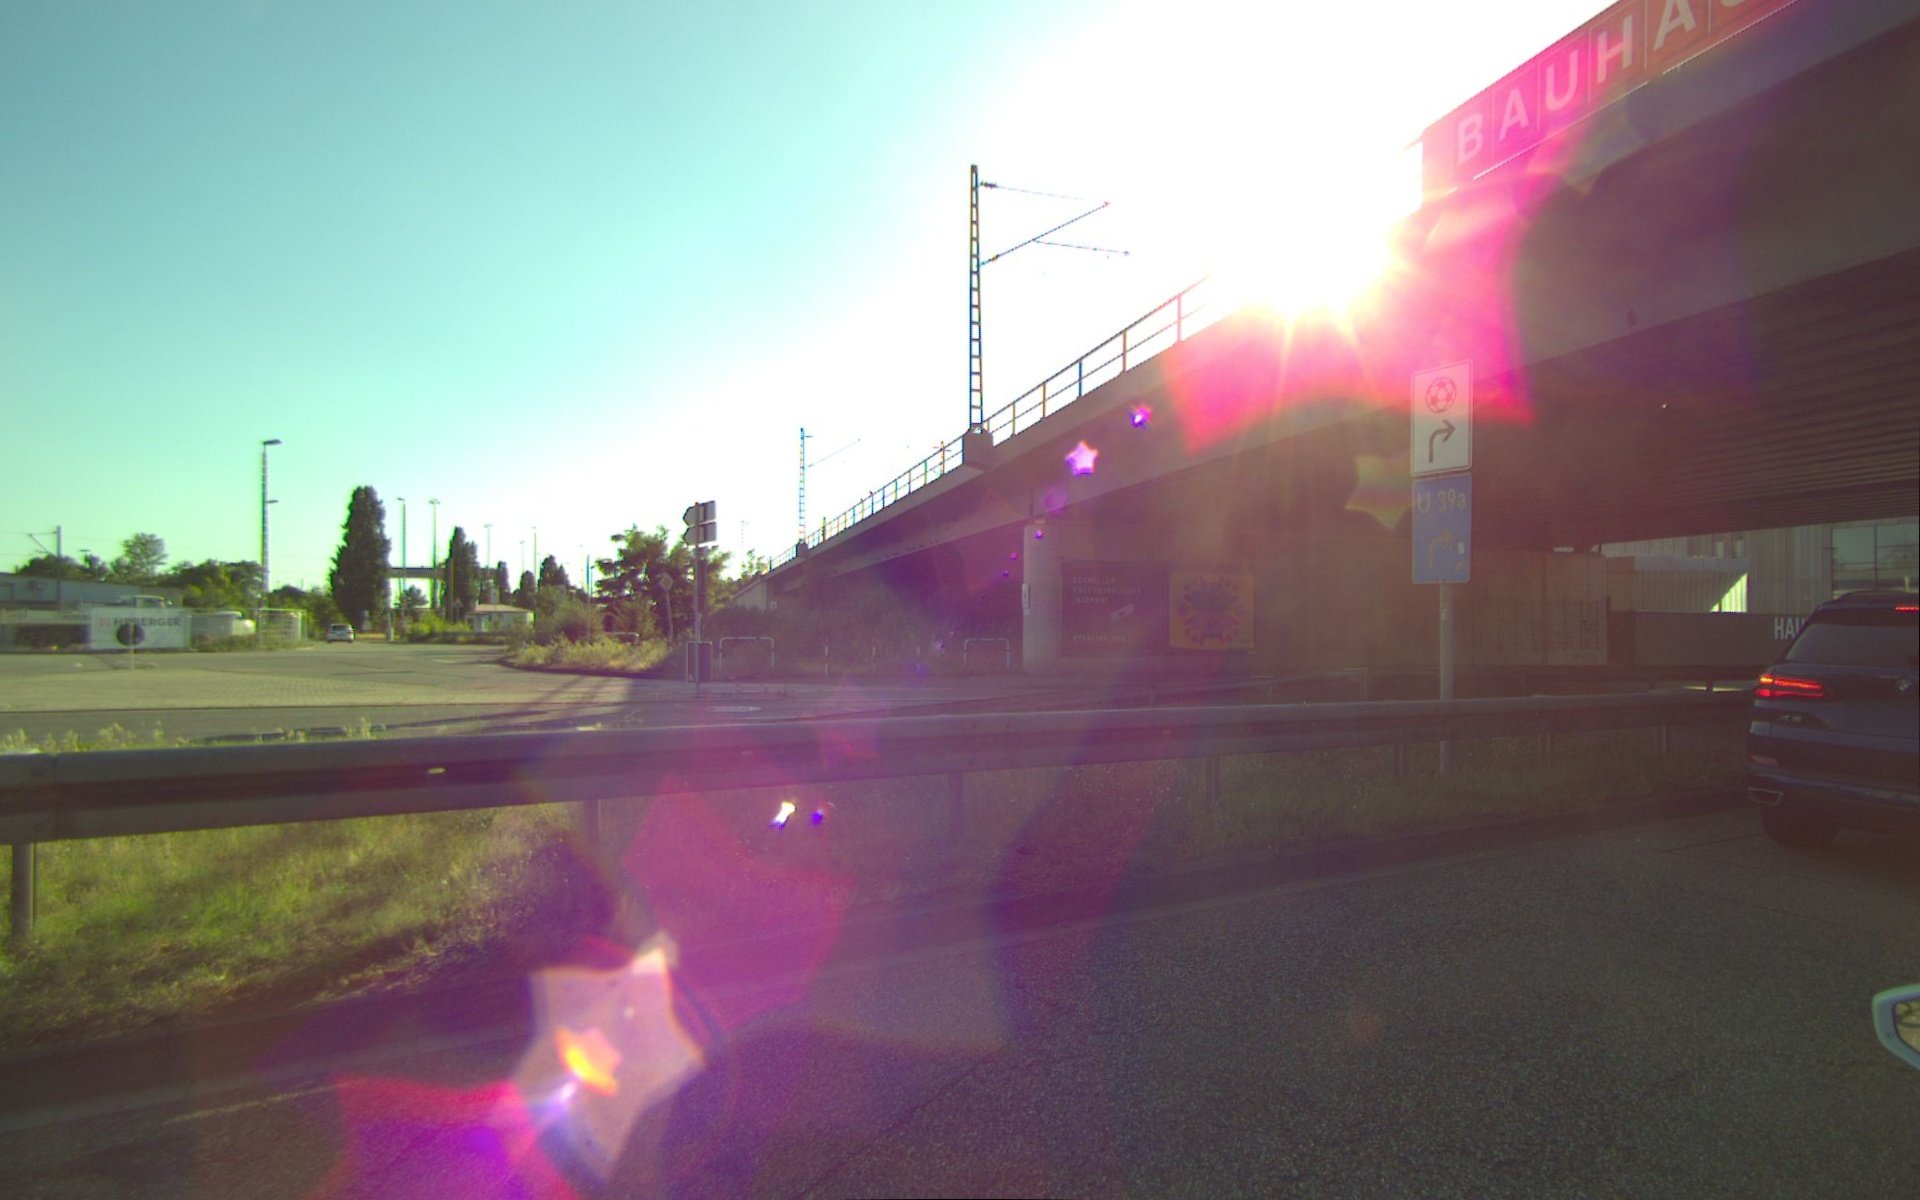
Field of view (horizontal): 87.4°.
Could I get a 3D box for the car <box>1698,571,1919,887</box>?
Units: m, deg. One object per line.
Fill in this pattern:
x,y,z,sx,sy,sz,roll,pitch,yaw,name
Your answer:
7.292,0.781,6.722,4.474,1.757,1.986,2,0,-27,car

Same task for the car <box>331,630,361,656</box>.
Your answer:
-52.592,3.663,86.034,1.980,2.040,3.961,2,0,-35,car
